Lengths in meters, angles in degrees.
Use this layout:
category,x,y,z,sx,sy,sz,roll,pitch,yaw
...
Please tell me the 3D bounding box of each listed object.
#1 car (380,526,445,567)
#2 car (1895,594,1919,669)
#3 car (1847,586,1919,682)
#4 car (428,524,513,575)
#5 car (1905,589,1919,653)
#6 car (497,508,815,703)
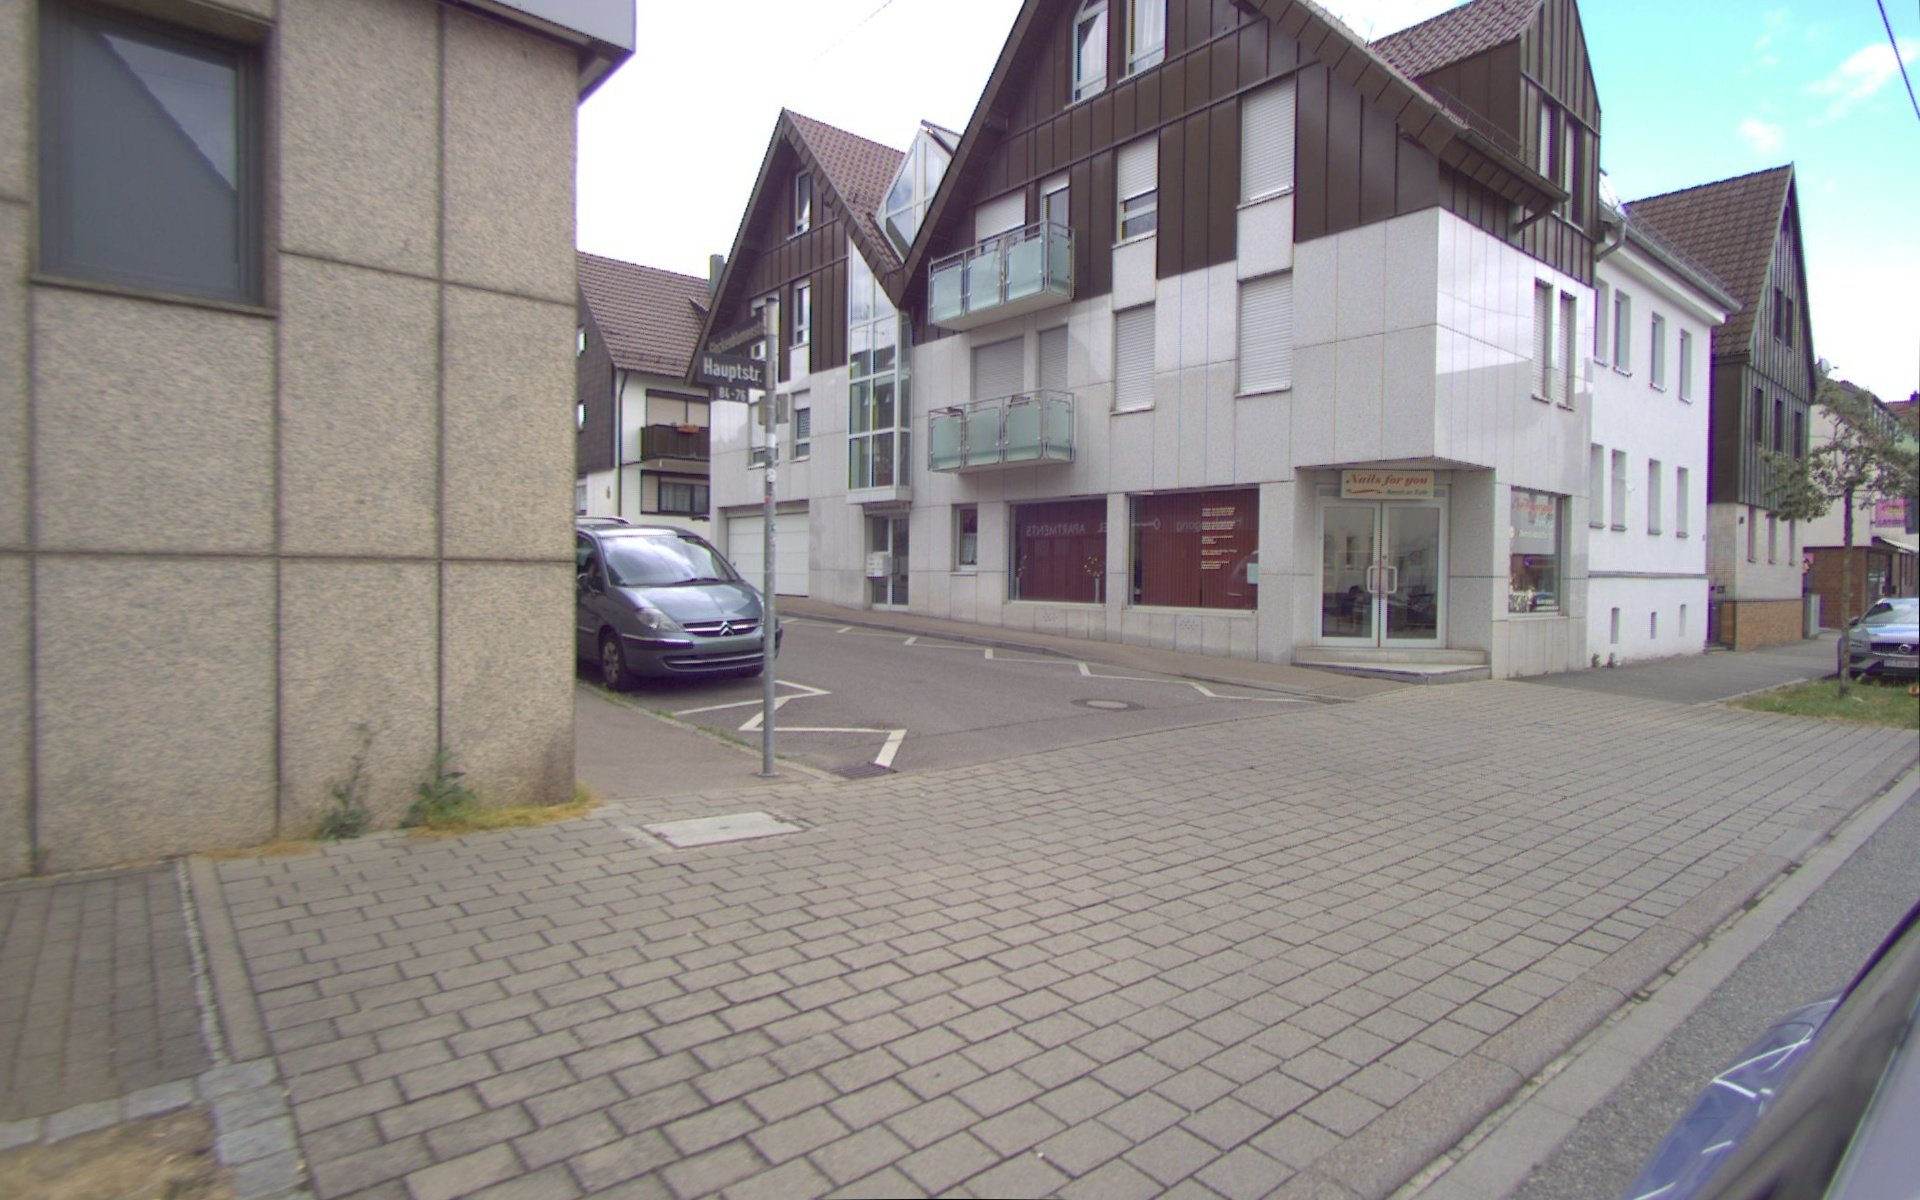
category,x,y,z,sx,sy,sz,roll,pitch,yaw
car,-25.753,-2.469,47.571,1.964,1.726,4.055,-1,1,-39
car,21.052,0.618,21.193,4.378,1.464,1.757,-1,0,-42
car,17.287,0.537,17.883,4.434,1.559,1.879,-1,1,-41
car,-18.175,-1.818,37.496,1.932,1.726,4.036,-1,1,-39
car,24.769,0.491,24.840,3.923,1.516,1.834,-1,0,-40
car,-3.791,-0.112,12.119,1.898,1.888,4.488,-3,5,-42
